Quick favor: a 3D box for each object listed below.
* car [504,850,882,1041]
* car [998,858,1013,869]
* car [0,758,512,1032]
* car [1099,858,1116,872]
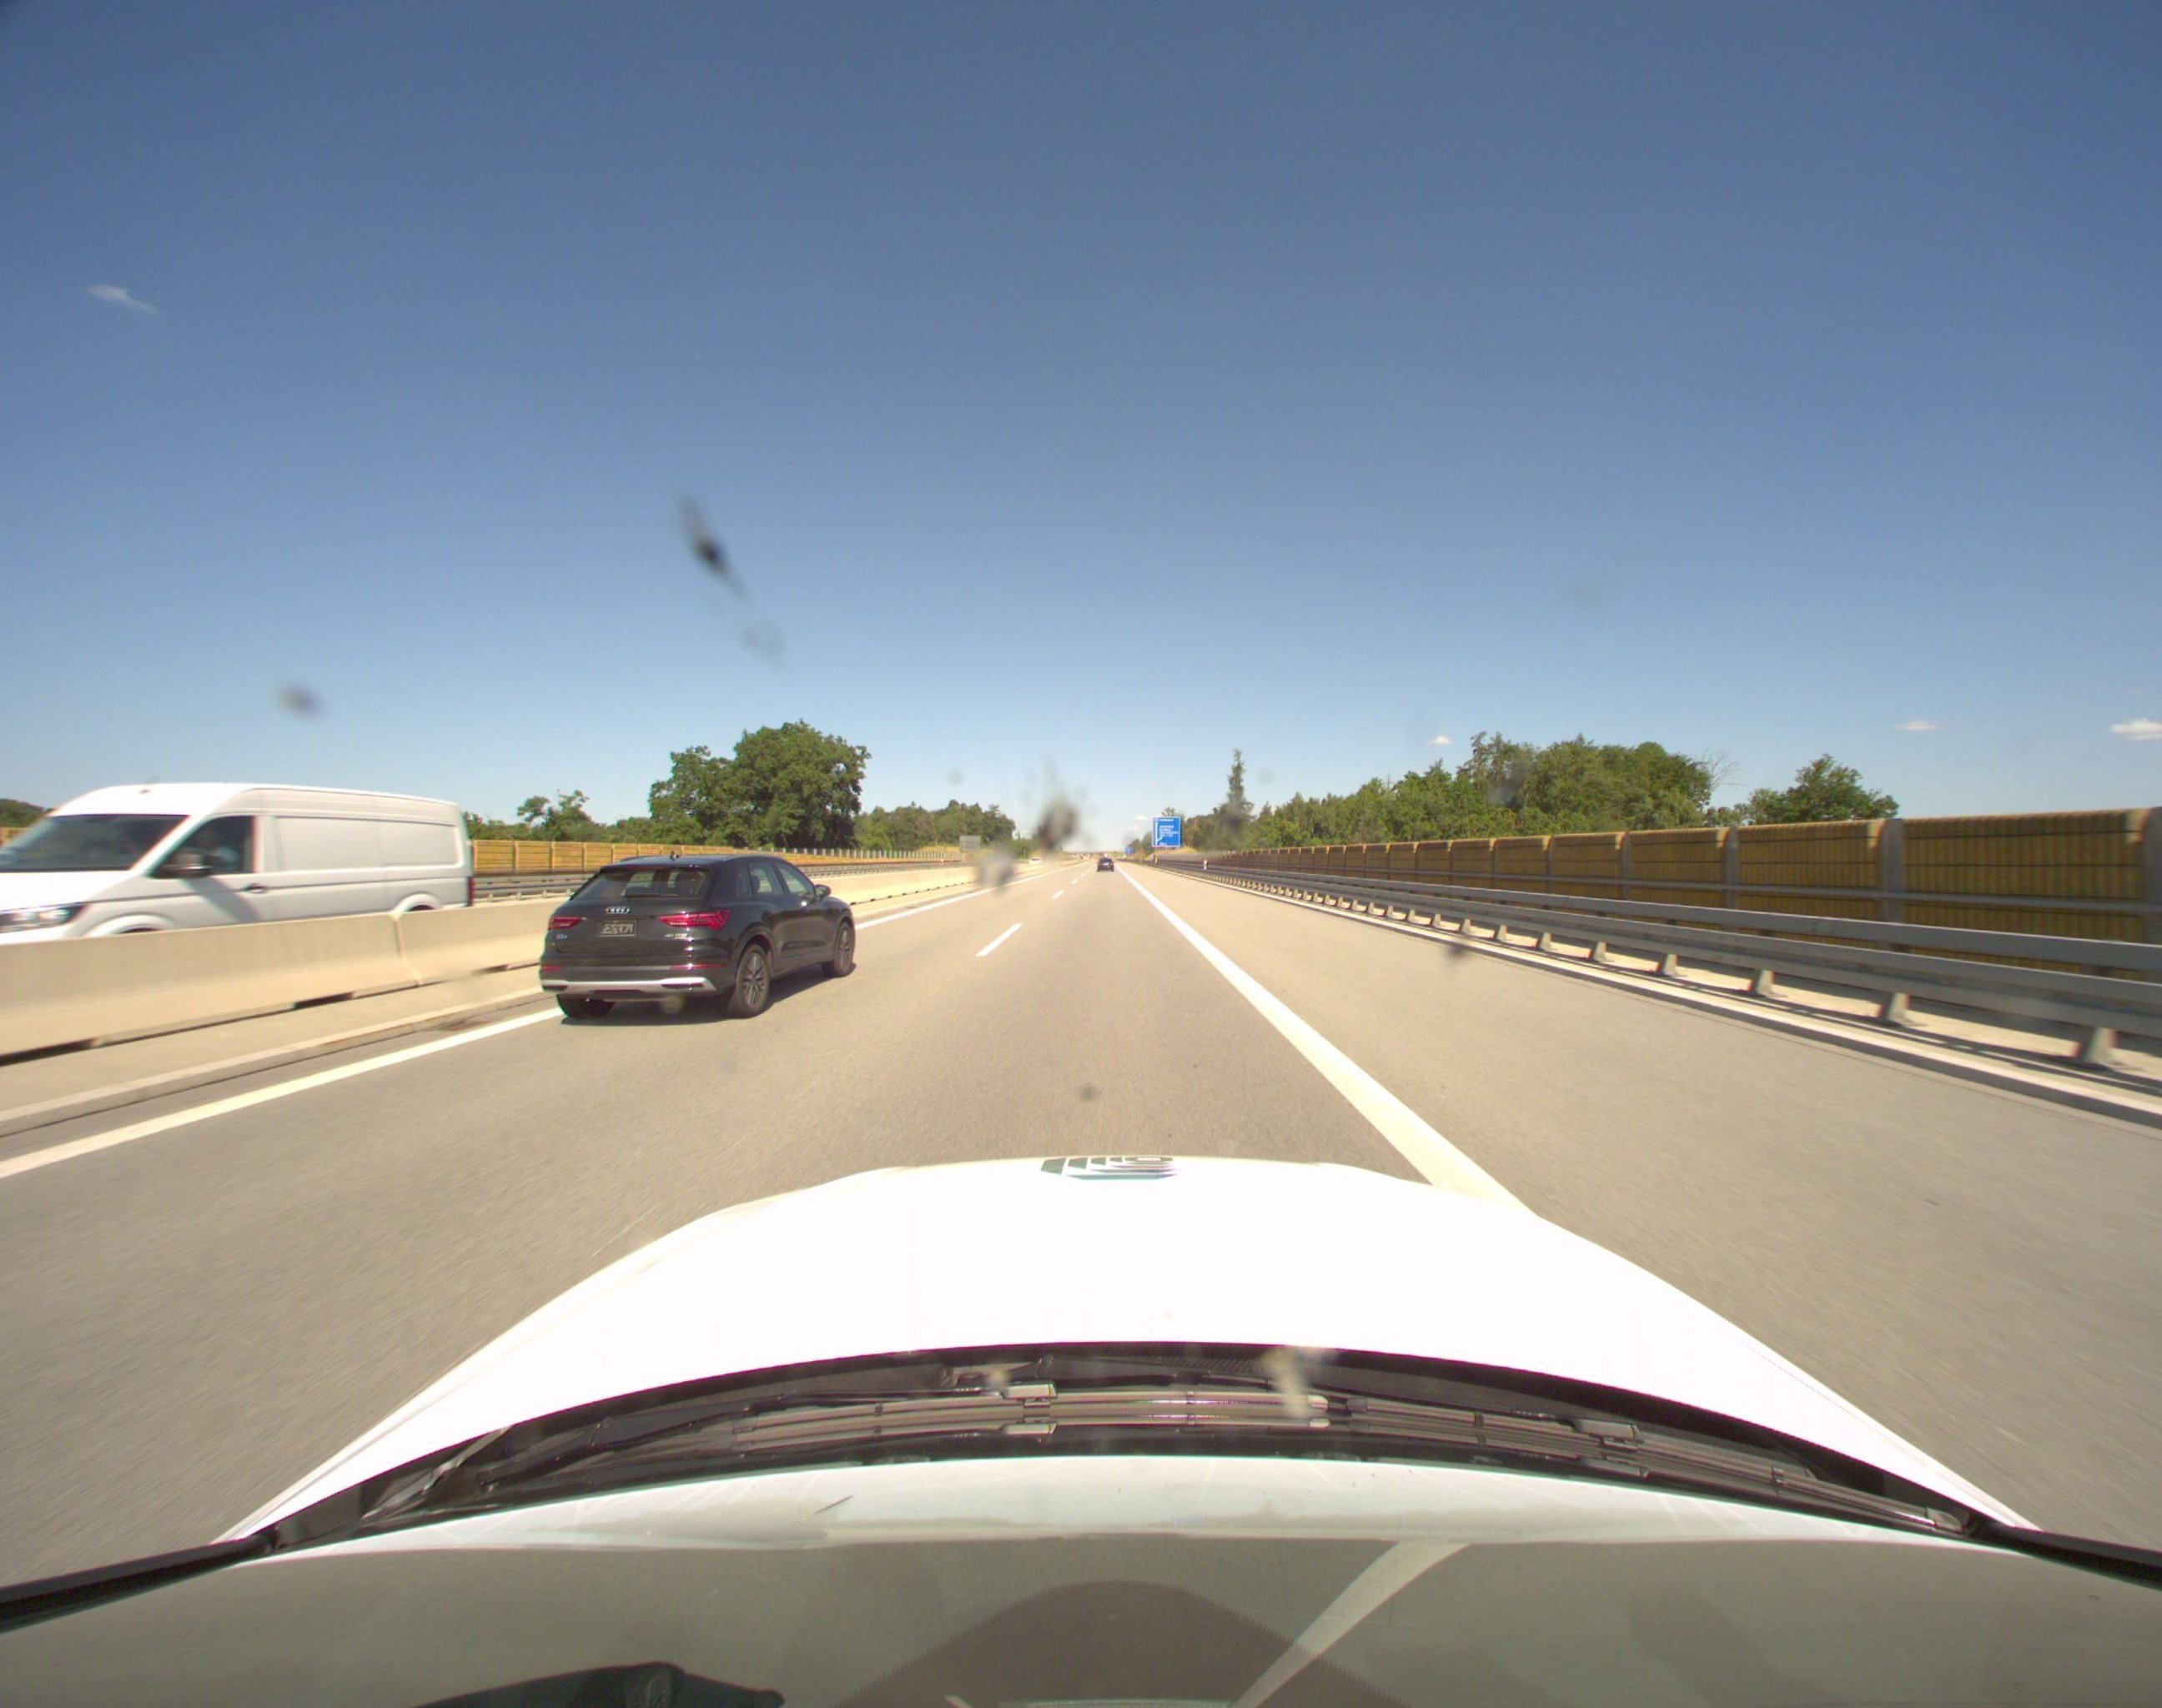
[{"bbox_3d":[-3.901,0.783,9.449,1.715,1.587,5.224,-1,0,2],"label":"car"},{"bbox_3d":[-10.563,1.285,114.362,1.574,1.458,4.451,-1,0,1],"label":"car"},{"bbox_3d":[-11.158,0.415,11.211,2.016,2.670,6.487,0,0,1],"label":"car"},{"bbox_3d":[2.783,1.156,85.695,1.783,1.374,3.918,0,0,2],"label":"car"}]
